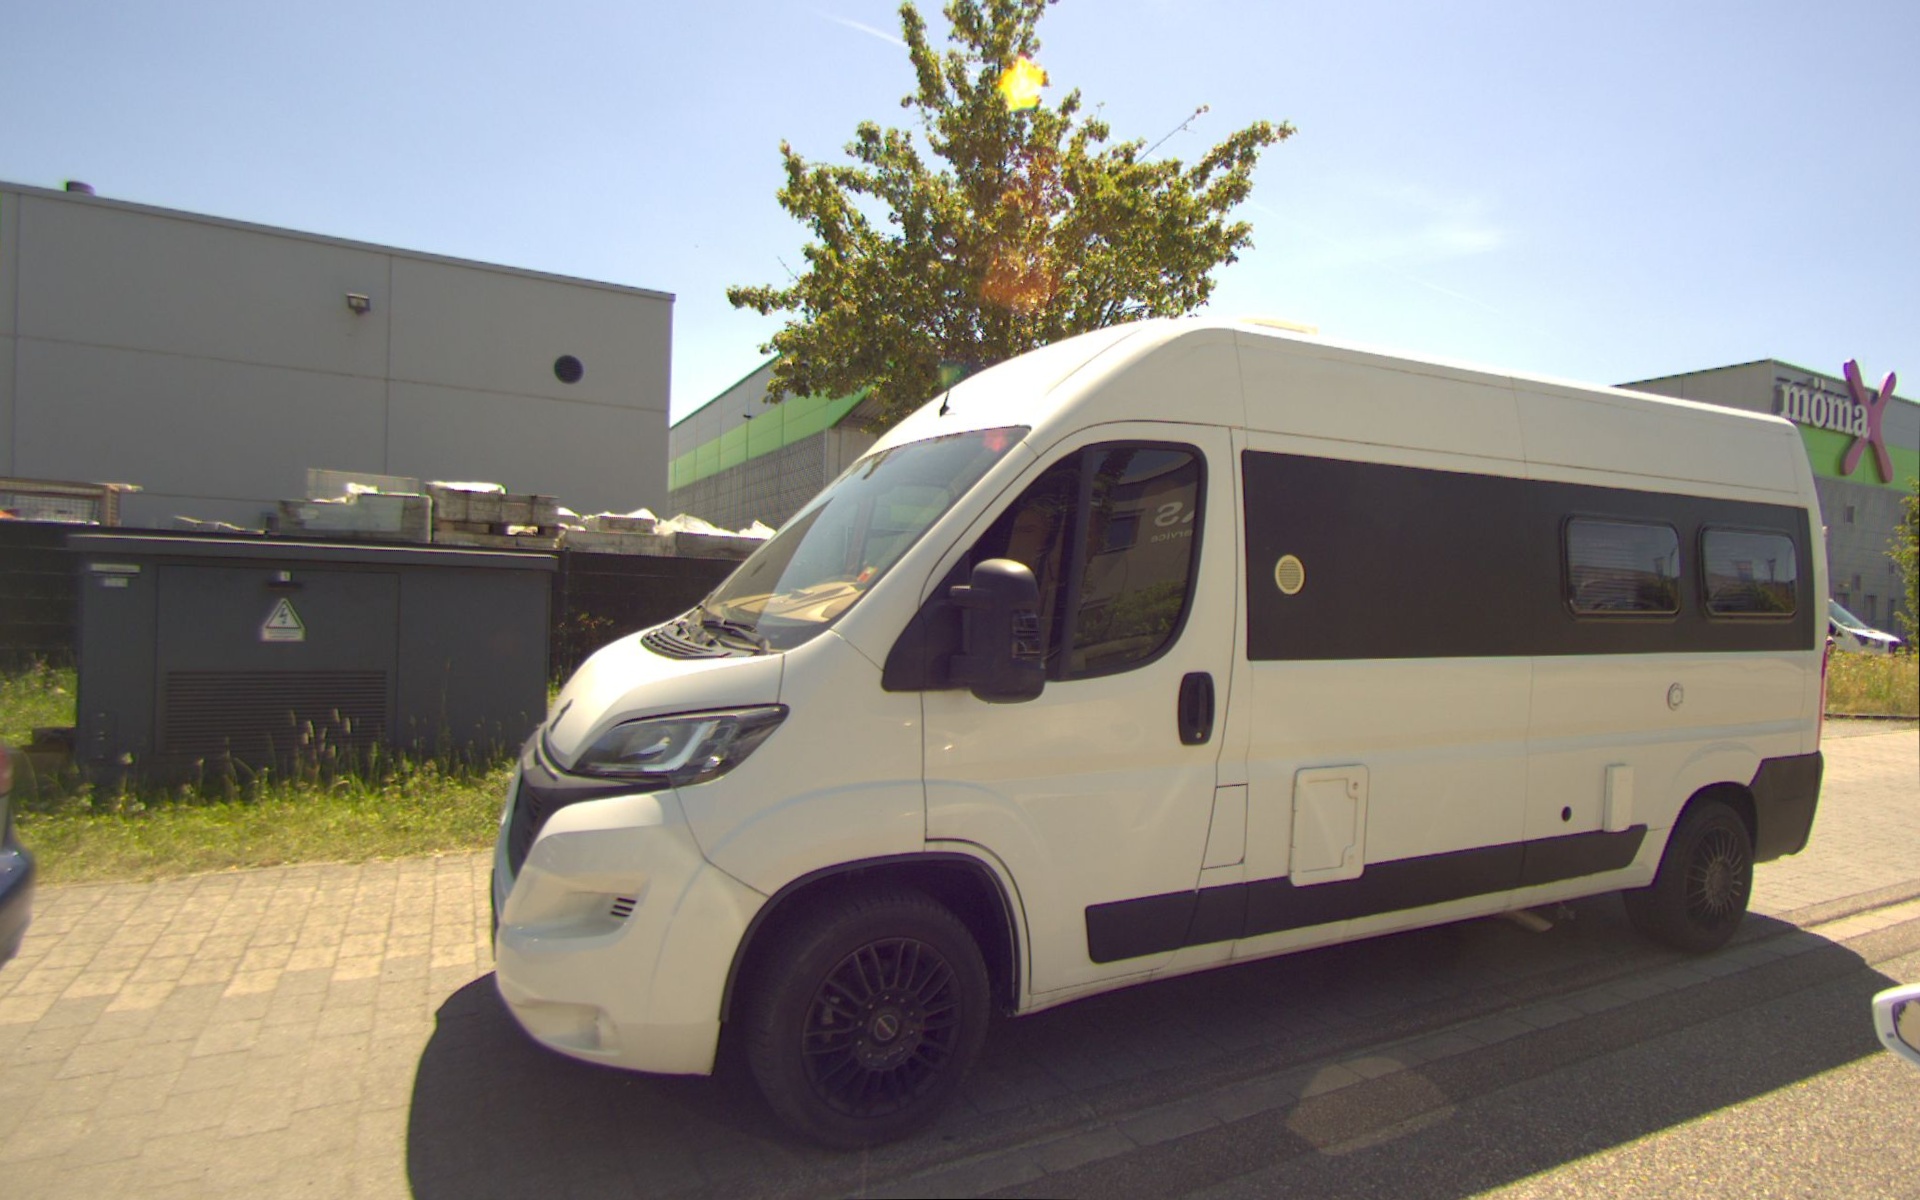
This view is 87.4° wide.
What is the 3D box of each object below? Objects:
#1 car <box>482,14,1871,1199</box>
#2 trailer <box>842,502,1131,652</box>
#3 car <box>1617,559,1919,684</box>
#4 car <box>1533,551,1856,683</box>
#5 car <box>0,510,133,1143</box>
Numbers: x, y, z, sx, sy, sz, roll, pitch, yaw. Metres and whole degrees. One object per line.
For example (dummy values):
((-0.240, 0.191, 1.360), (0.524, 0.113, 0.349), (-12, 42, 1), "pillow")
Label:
((1.208, 0.129, 4.561), (6.008, 2.633, 2.314), (2, 2, -28), "car")
((0.045, -0.595, 35.140), (3.178, 4.142, 15.263), (1, -1, -27), "trailer")
((21.560, 0.480, 27.044), (2.490, 2.965, 5.948), (1, 1, -28), "car")
((17.970, 0.321, 25.008), (2.490, 2.862, 5.948), (1, 1, -28), "car")
((-4.431, 0.497, 1.533), (4.566, 1.562, 1.824), (2, 2, -28), "car")
